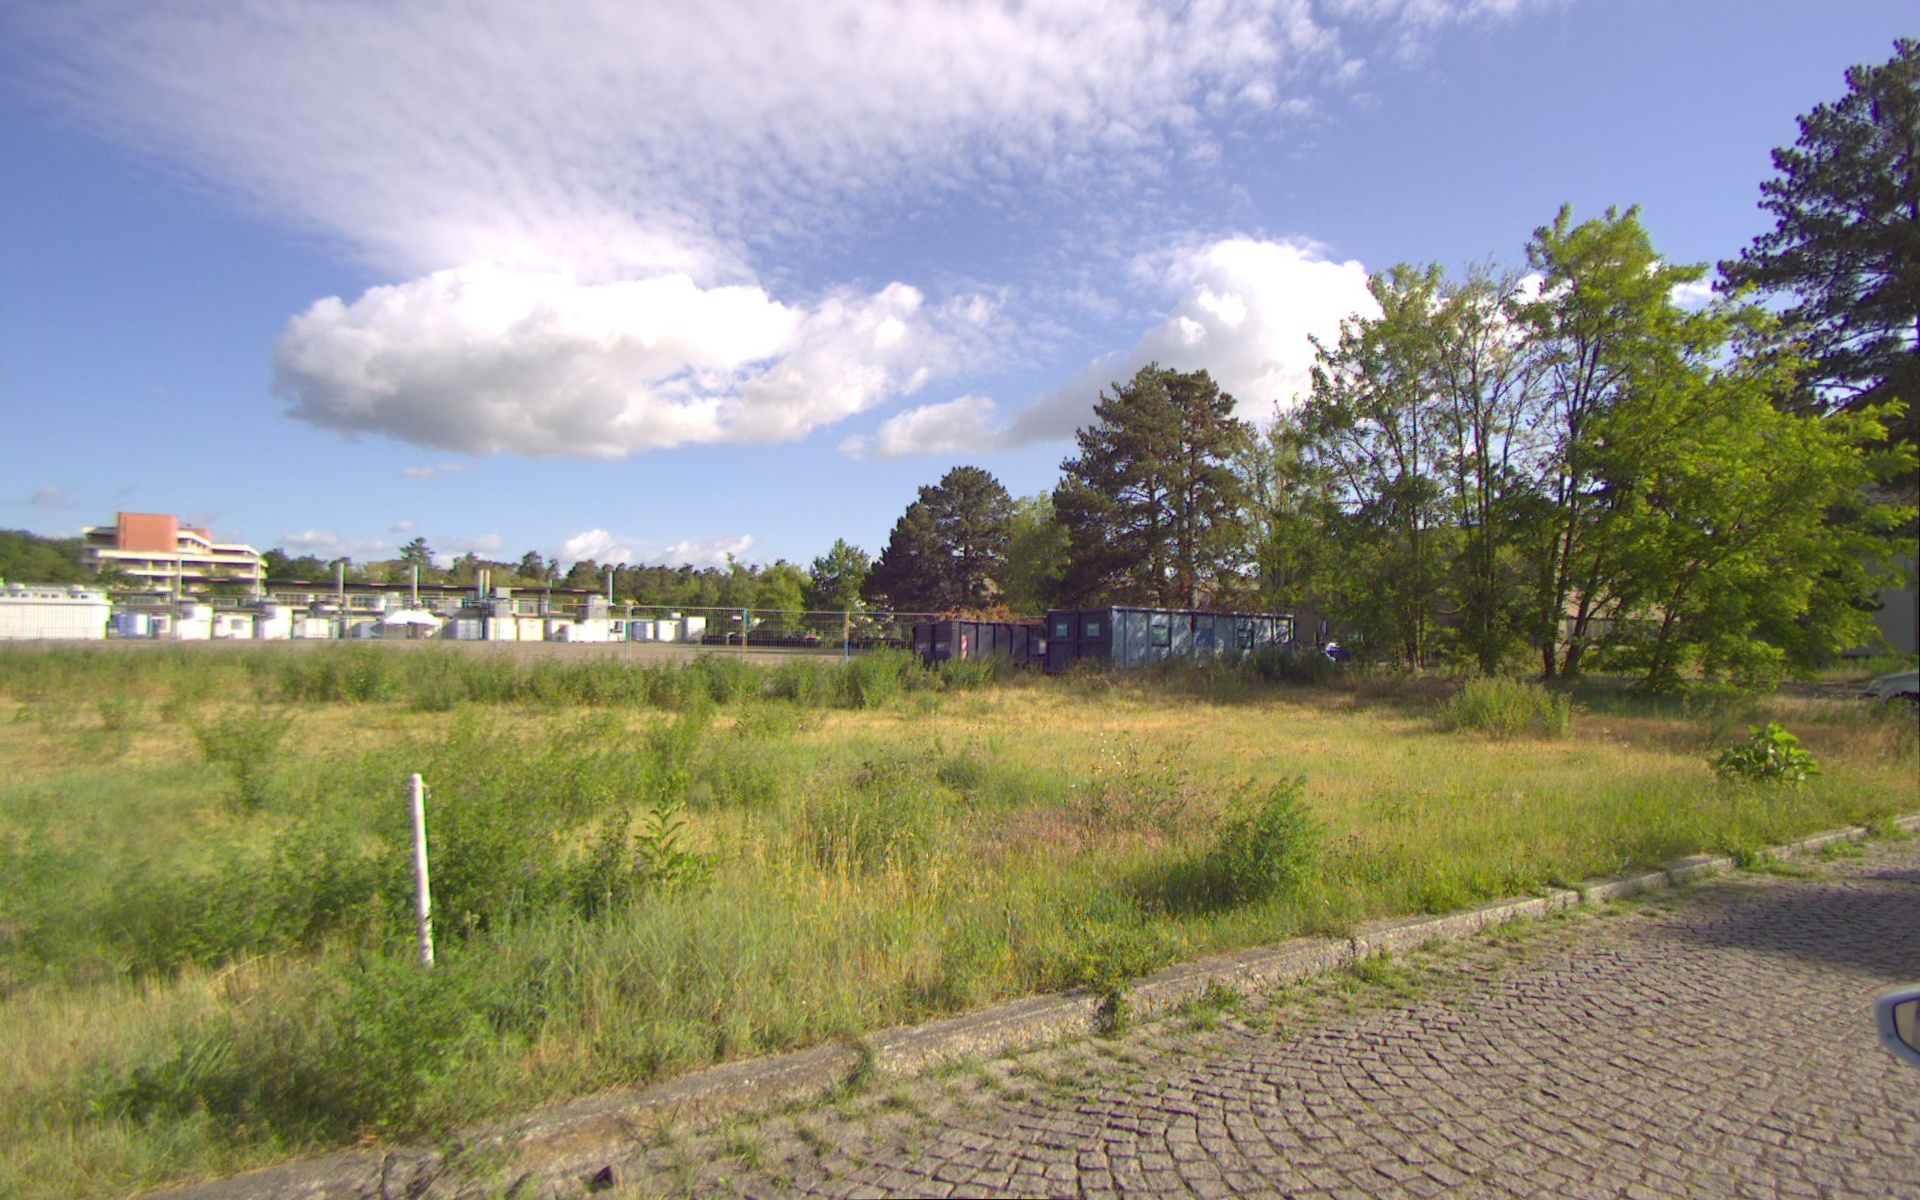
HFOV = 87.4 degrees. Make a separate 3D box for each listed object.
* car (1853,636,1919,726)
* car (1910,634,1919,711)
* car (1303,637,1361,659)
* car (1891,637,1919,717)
[{"bbox_3d":[17.633,1.441,16.798,1.628,1.507,3.724,1,0,-33],"label":"car"},{"bbox_3d":[21.991,1.581,20.060,1.865,1.614,4.056,1,0,-33],"label":"car"},{"bbox_3d":[26.886,3.485,72.589,3.954,1.452,1.893,3,-2,-30],"label":"car"},{"bbox_3d":[19.783,1.515,18.207,1.784,1.500,3.963,1,0,-33],"label":"car"}]
